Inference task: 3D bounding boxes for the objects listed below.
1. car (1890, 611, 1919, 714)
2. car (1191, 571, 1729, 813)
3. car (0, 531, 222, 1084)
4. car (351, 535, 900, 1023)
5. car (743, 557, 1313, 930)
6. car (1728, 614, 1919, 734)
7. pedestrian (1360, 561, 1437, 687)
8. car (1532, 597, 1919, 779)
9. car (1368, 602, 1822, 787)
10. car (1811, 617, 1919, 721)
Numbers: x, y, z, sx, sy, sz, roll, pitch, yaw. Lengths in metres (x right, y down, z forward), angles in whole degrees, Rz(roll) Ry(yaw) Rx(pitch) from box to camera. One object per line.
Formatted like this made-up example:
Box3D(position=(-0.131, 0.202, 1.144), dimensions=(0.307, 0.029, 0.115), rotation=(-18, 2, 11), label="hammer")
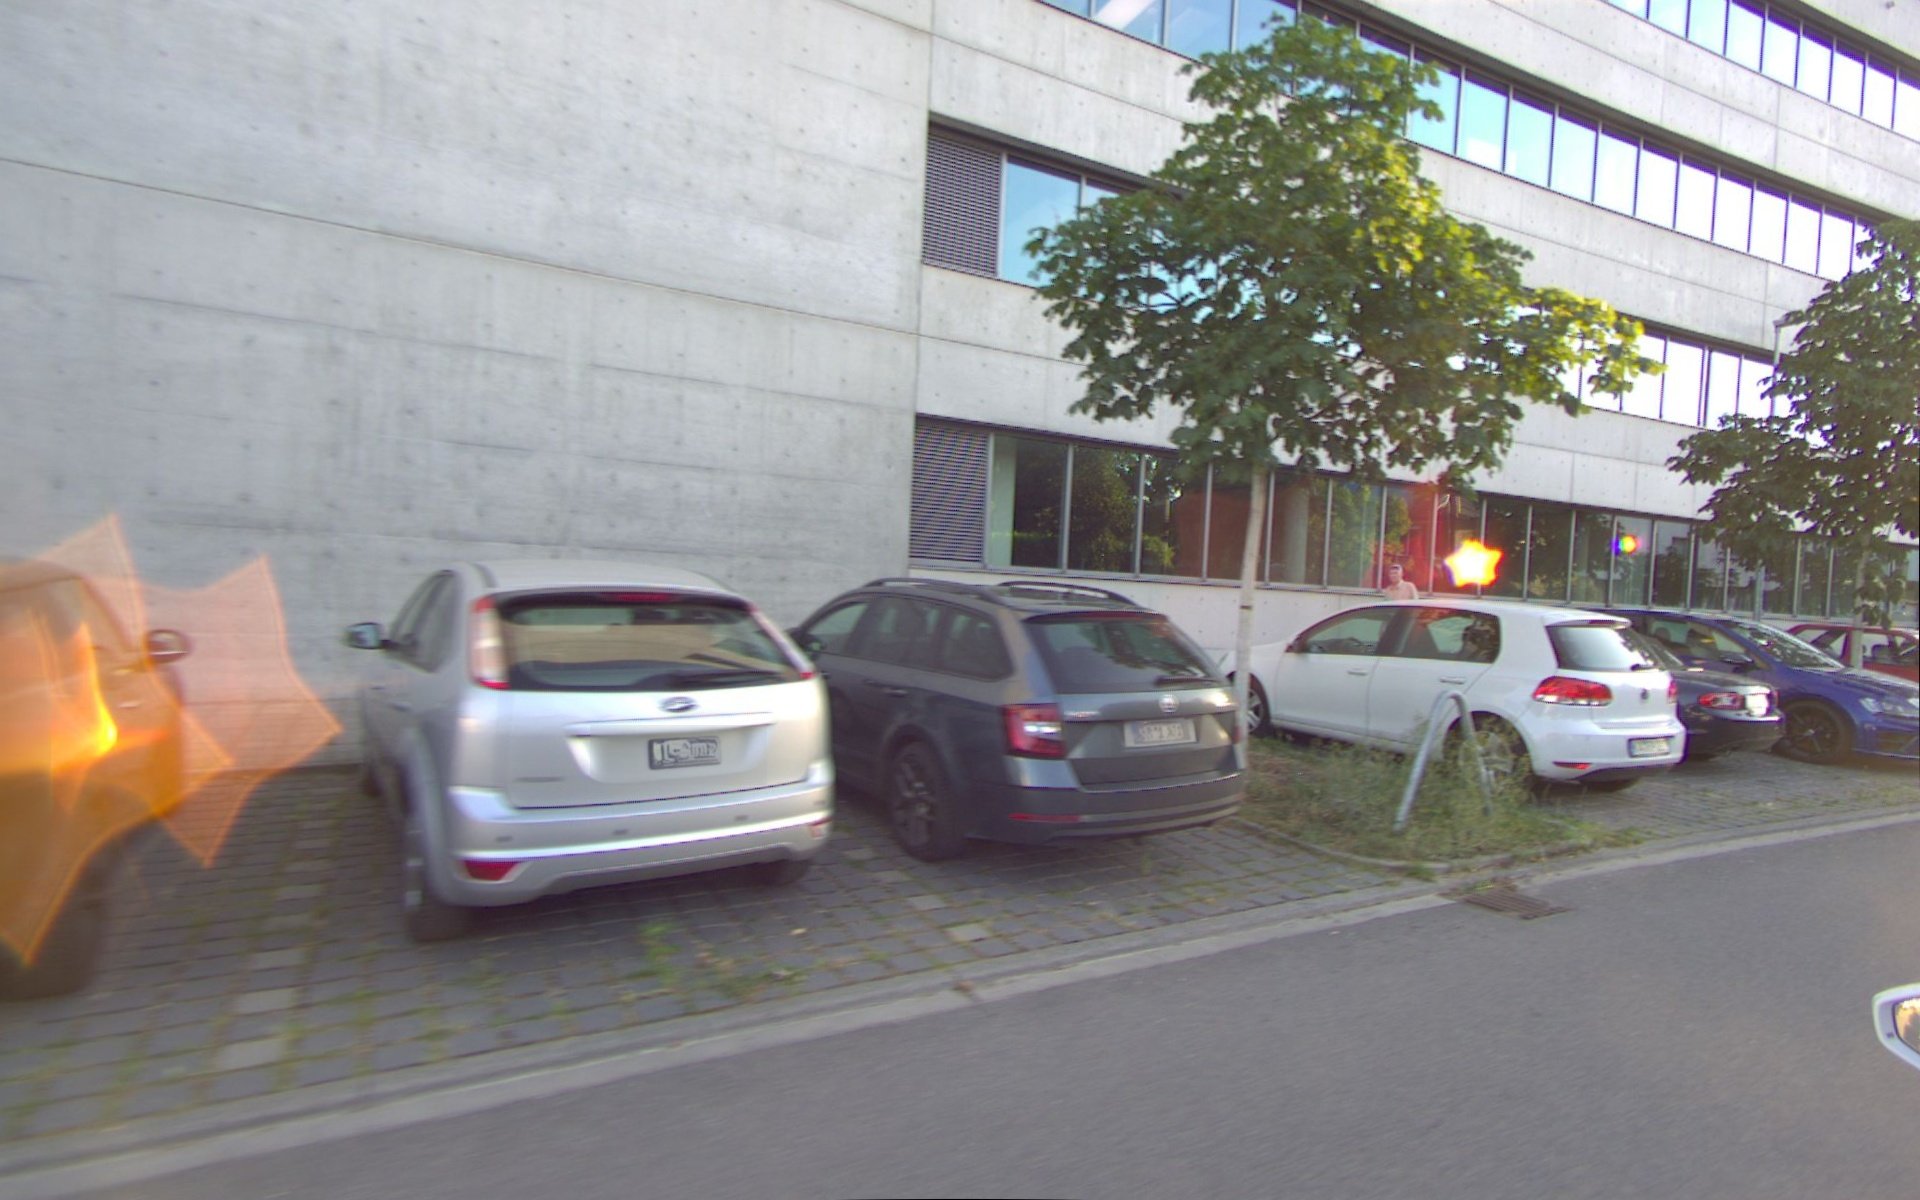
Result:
Box3D(position=(17.886, 1.186, 15.820), dimensions=(1.870, 1.719, 4.296), rotation=(3, 1, -24), label="car")
Box3D(position=(4.114, 0.602, 8.975), dimensions=(1.739, 1.532, 3.968), rotation=(2, 2, -29), label="car")
Box3D(position=(-4.179, 0.482, 3.977), dimensions=(1.750, 1.502, 3.712), rotation=(1, 3, -32), label="car")
Box3D(position=(-2.139, 0.492, 5.418), dimensions=(1.826, 1.549, 4.061), rotation=(2, 3, -33), label="car")
Box3D(position=(0.078, 0.560, 6.457), dimensions=(1.568, 1.533, 3.974), rotation=(0, 3, -33), label="car")
Box3D(position=(13.407, 1.067, 14.150), dimensions=(1.689, 1.477, 3.689), rotation=(3, 1, -26), label="car")
Box3D(position=(6.525, 0.354, 14.959), dimensions=(0.716, 1.808, 0.643), rotation=(2, 2, -27), label="pedestrian")
Box3D(position=(9.023, 0.848, 11.593), dimensions=(1.737, 1.532, 3.856), rotation=(2, 2, -26), label="car")
Box3D(position=(6.390, 0.825, 10.517), dimensions=(1.667, 1.380, 3.613), rotation=(1, 2, -31), label="car")
Box3D(position=(15.324, 1.123, 14.927), dimensions=(1.656, 1.477, 3.691), rotation=(3, 1, -24), label="car")
